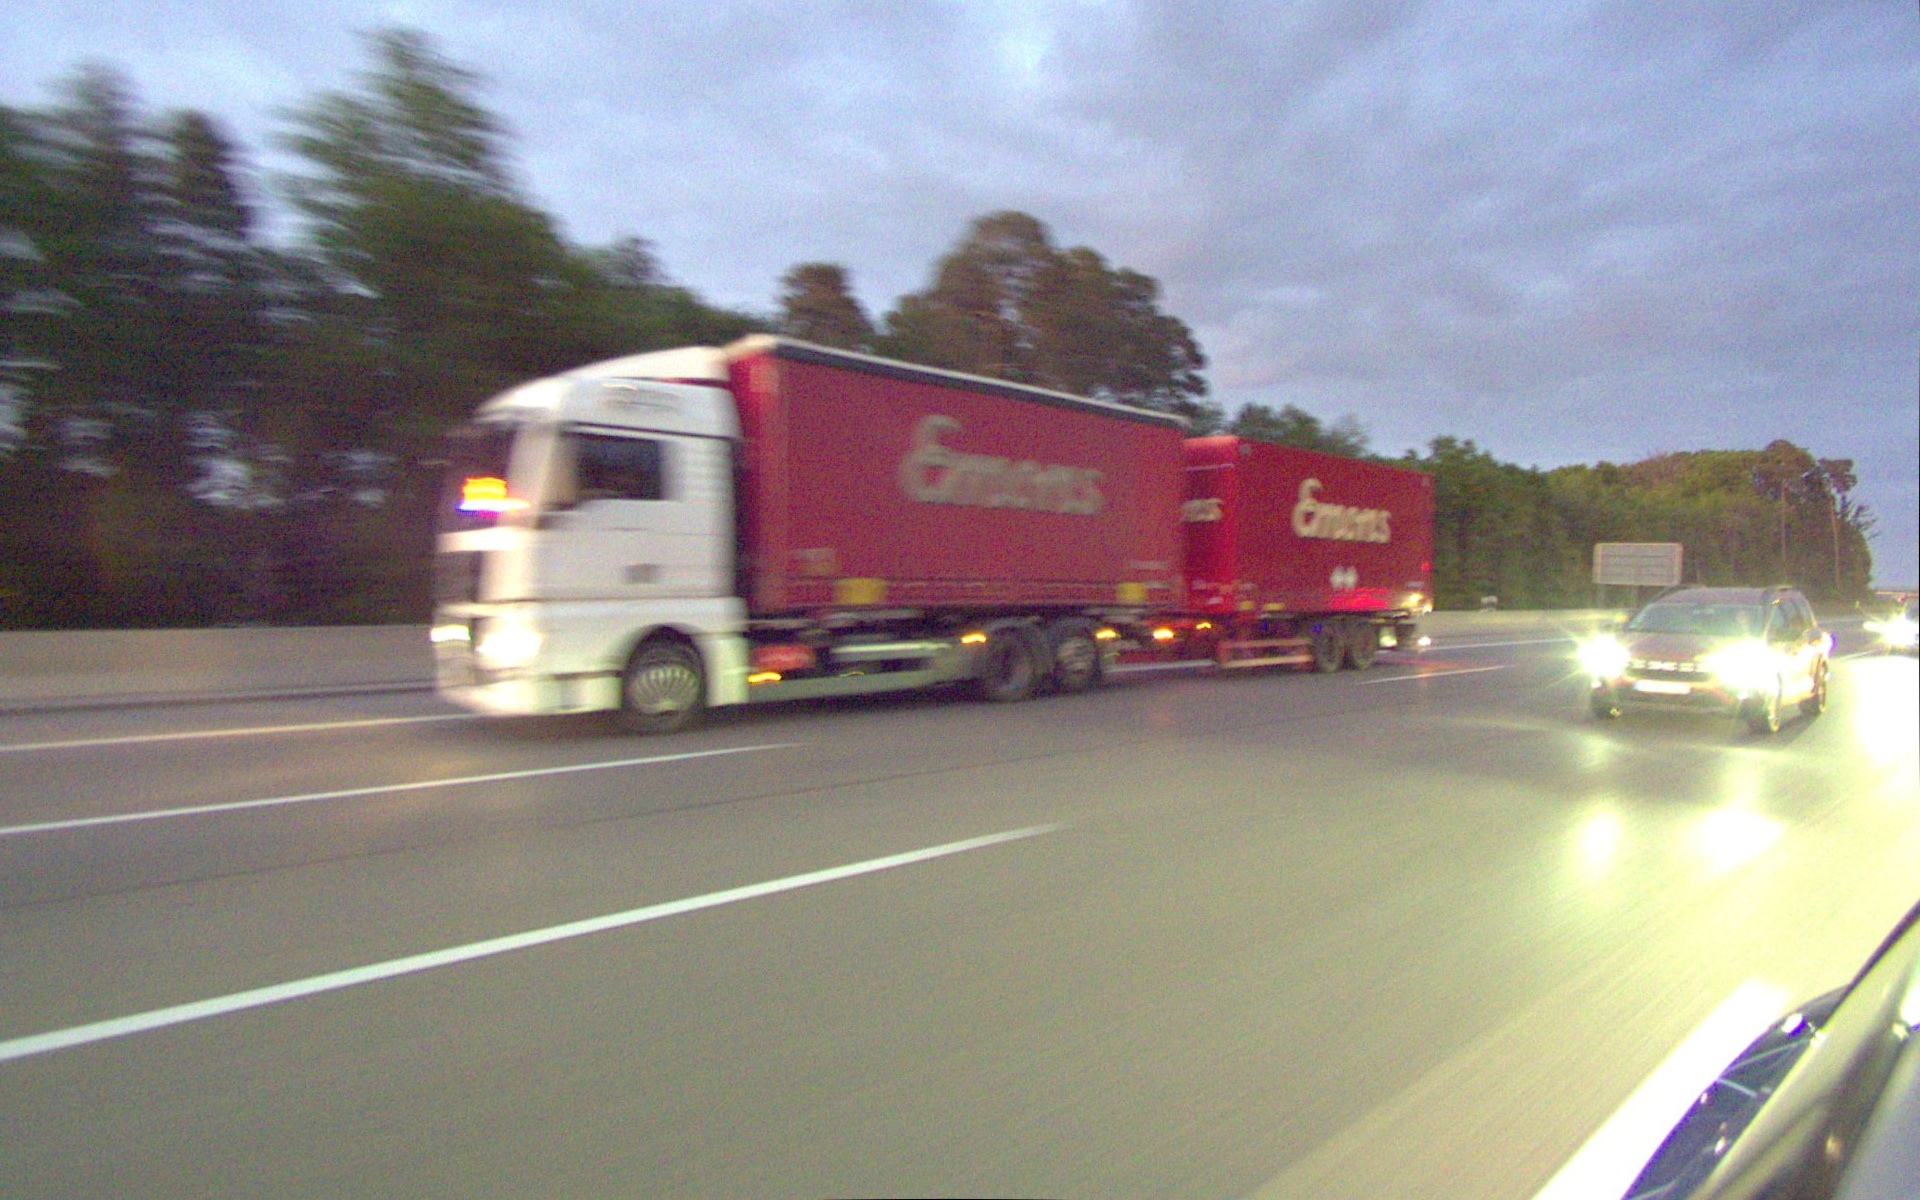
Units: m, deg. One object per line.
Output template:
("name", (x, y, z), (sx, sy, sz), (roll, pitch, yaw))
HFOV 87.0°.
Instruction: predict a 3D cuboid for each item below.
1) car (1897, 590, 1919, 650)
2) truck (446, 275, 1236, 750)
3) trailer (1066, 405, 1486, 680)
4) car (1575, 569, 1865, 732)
("car", (27.588, 0.522, 27.974), (5.140, 1.556, 1.913), (-1, 2, -41))
("truck", (-0.647, -0.803, 13.437), (10.642, 4.152, 2.890), (0, 1, -41))
("trailer", (6.629, -0.911, 19.763), (10.176, 4.152, 2.912), (0, 1, -41))
("car", (9.766, 0.498, 12.843), (4.963, 1.664, 1.907), (0, 2, -41))
